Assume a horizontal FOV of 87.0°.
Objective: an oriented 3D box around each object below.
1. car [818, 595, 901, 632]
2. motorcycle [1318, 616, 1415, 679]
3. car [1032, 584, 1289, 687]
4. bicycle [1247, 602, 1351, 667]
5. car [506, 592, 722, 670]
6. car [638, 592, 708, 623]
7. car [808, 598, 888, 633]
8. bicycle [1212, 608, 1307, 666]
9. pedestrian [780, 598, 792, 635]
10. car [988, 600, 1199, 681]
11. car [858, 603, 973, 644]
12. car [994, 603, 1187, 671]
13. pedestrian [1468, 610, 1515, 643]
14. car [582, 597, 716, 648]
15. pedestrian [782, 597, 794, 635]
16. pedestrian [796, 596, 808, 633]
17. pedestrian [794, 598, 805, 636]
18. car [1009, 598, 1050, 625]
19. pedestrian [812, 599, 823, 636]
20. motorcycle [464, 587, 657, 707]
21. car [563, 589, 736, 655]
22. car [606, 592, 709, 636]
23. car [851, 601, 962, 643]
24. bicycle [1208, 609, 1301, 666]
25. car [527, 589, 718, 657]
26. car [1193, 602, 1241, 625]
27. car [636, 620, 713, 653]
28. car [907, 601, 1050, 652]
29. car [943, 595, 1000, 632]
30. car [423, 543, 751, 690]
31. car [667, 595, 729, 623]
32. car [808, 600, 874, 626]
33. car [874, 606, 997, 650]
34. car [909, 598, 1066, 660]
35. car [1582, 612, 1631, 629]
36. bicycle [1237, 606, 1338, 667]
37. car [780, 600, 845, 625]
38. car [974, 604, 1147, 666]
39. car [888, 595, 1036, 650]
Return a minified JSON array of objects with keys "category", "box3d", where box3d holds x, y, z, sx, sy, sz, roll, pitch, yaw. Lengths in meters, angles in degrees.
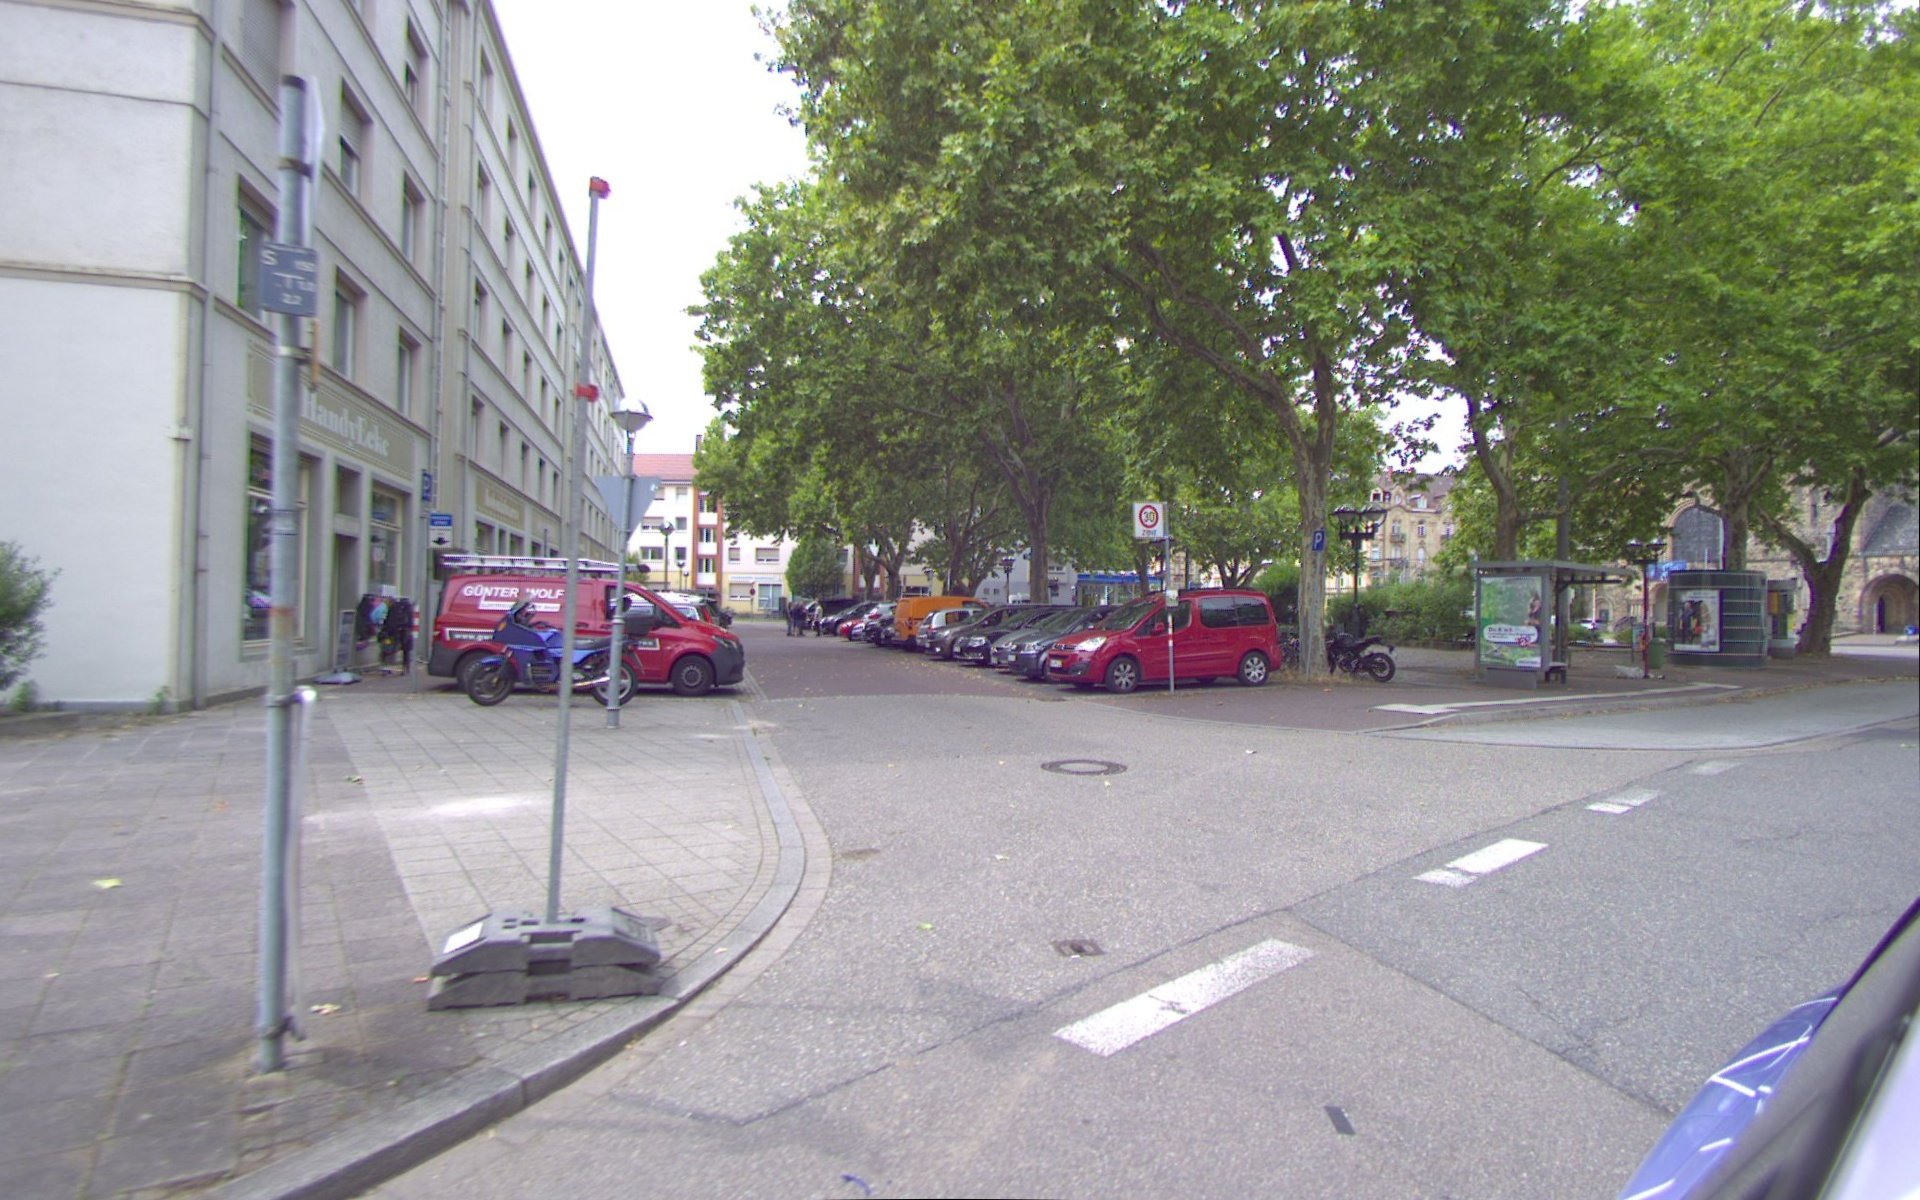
[{"category":"car","box3d":[-5.213,0.690,52.335,3.916,1.839,1.921,1,-1,-20]},{"category":"motorcycle","box3d":[8.481,0.970,21.188,0.521,1.238,1.857,2,-2,-41]},{"category":"car","box3d":[3.668,0.615,18.670,4.239,1.727,1.942,1,0,-19]},{"category":"bicycle","box3d":[7.792,0.798,23.289,2.264,1.395,0.421,2,-1,-7]},{"category":"car","box3d":[-7.190,0.634,21.344,4.106,1.523,2.004,1,-1,-16]},{"category":"car","box3d":[-16.880,0.466,59.536,3.915,1.750,2.004,1,-1,-17]},{"category":"car","box3d":[-6.064,0.844,54.676,3.916,1.839,1.921,1,-1,-20]},{"category":"bicycle","box3d":[7.452,0.916,25.224,2.264,1.395,0.421,1,-1,-7]},{"category":"pedestrian","box3d":[-8.748,0.837,50.819,0.427,1.836,0.448,2,-2,-28]},{"category":"car","box3d":[2.741,0.799,20.977,3.915,1.572,1.837,1,0,-19]},{"category":"car","box3d":[-1.708,0.875,38.356,3.915,1.482,2.004,1,0,-19]},{"category":"car","box3d":[3.027,0.841,23.654,4.096,1.483,1.755,1,0,-15]},{"category":"pedestrian","box3d":[20.158,0.988,38.411,1.117,1.228,1.101,0,0,-14]},{"category":"car","box3d":[-10.249,0.732,33.439,4.106,1.611,2.004,1,-1,-17]},{"category":"pedestrian","box3d":[-8.555,0.791,50.301,0.427,1.836,0.448,2,-2,-28]},{"category":"pedestrian","box3d":[-8.088,0.737,51.651,0.439,1.836,0.436,2,-2,-30]},{"category":"pedestrian","box3d":[-7.997,0.847,50.405,0.438,1.836,0.436,2,-2,-21]},{"category":"car","box3d":[5.648,0.936,82.882,1.958,2.134,4.036,1,-1,-19]},{"category":"pedestrian","box3d":[-7.149,0.869,50.677,0.426,1.836,0.448,2,-2,-19]},{"category":"motorcycle","box3d":[-5.262,0.610,13.365,2.258,1.480,0.836,2,-1,-28]},{"category":"car","box3d":[-7.967,0.558,26.183,4.106,1.611,2.004,1,-1,-16]},{"category":"car","box3d":[-12.301,0.576,41.188,3.915,1.750,2.004,1,-1,-17]},{"category":"car","box3d":[-2.189,0.877,41.066,4.116,1.638,2.004,1,0,-19]},{"category":"bicycle","box3d":[7.436,0.948,25.599,2.264,1.395,0.421,1,-1,-7]},{"category":"car","box3d":[-7.888,0.541,23.950,4.106,1.506,2.004,1,-1,-16]},{"category":"car","box3d":[22.203,1.198,87.493,1.958,1.902,4.390,2,-1,-18]},{"category":"car","box3d":[-15.441,1.955,54.753,3.915,1.750,2.004,1,-1,-17]},{"category":"car","box3d":[0.551,0.795,31.077,3.915,1.482,2.004,1,0,-19]},{"category":"car","box3d":[0.557,0.711,53.921,1.958,1.839,4.341,1,-1,-15]},{"category":"car","box3d":[-5.926,0.265,16.587,4.742,2.177,2.004,1,-1,-16]},{"category":"car","box3d":[-17.394,0.606,67.106,3.916,1.750,2.004,1,-1,-16]},{"category":"car","box3d":[-7.376,0.812,62.912,4.018,1.502,2.002,1,-1,-5]},{"category":"car","box3d":[-0.890,0.981,35.986,3.915,1.482,2.004,1,0,-19]},{"category":"car","box3d":[0.744,0.780,28.195,3.915,1.619,2.004,1,0,-19]},{"category":"car","box3d":[63.832,2.005,99.901,3.871,1.662,2.004,1,-1,-14]},{"category":"bicycle","box3d":[7.704,0.853,23.837,2.264,1.395,0.421,1,-1,-7]},{"category":"car","box3d":[-9.439,0.788,65.173,4.018,1.502,2.002,1,-1,-5]},{"category":"car","box3d":[2.558,0.860,25.975,3.915,1.482,2.004,1,0,-19]},{"category":"car","box3d":[0.041,0.718,33.383,4.463,1.716,2.004,1,0,-19]}]
